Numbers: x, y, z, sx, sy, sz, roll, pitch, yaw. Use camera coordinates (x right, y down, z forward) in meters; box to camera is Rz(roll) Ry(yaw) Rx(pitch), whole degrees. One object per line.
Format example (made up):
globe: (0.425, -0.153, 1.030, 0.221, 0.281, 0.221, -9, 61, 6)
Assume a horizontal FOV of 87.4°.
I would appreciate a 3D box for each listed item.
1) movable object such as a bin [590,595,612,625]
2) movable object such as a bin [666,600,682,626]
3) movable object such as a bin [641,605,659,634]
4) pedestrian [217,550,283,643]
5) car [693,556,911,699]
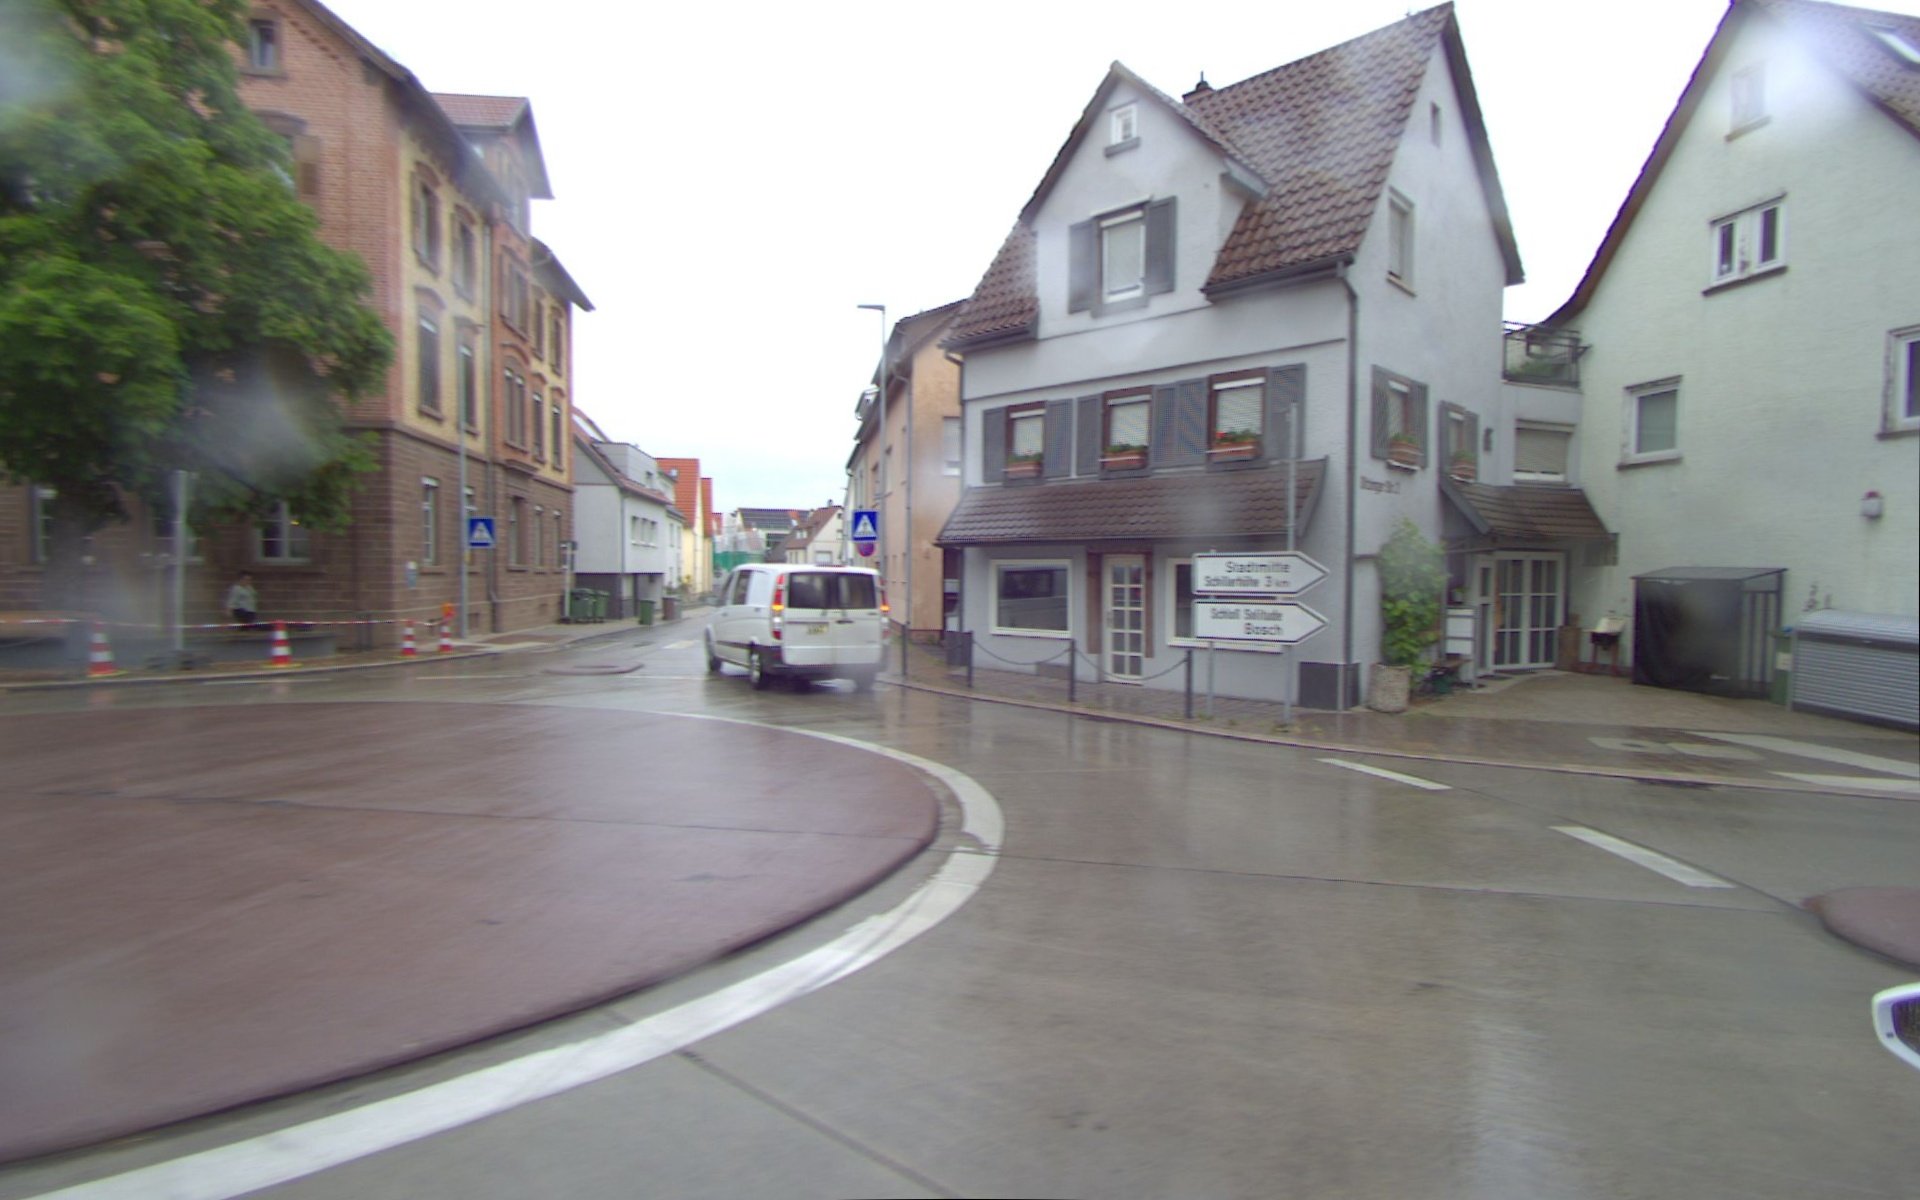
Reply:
movable object such as a bin: (-14.386, 0.390, 40.285, 0.737, 1.184, 0.630, 2, 0, -13)
movable object such as a bin: (-13.396, 0.595, 47.068, 0.645, 1.184, 0.780, 2, 0, -12)
movable object such as a bin: (-12.999, 0.807, 42.168, 0.617, 1.188, 0.760, 2, 0, -12)
pedestrian: (-15.116, -0.071, 21.409, 0.827, 1.911, 0.823, 2, 0, -9)
car: (-2.739, 0.398, 16.209, 2.131, 1.924, 4.892, 1, -1, -26)
